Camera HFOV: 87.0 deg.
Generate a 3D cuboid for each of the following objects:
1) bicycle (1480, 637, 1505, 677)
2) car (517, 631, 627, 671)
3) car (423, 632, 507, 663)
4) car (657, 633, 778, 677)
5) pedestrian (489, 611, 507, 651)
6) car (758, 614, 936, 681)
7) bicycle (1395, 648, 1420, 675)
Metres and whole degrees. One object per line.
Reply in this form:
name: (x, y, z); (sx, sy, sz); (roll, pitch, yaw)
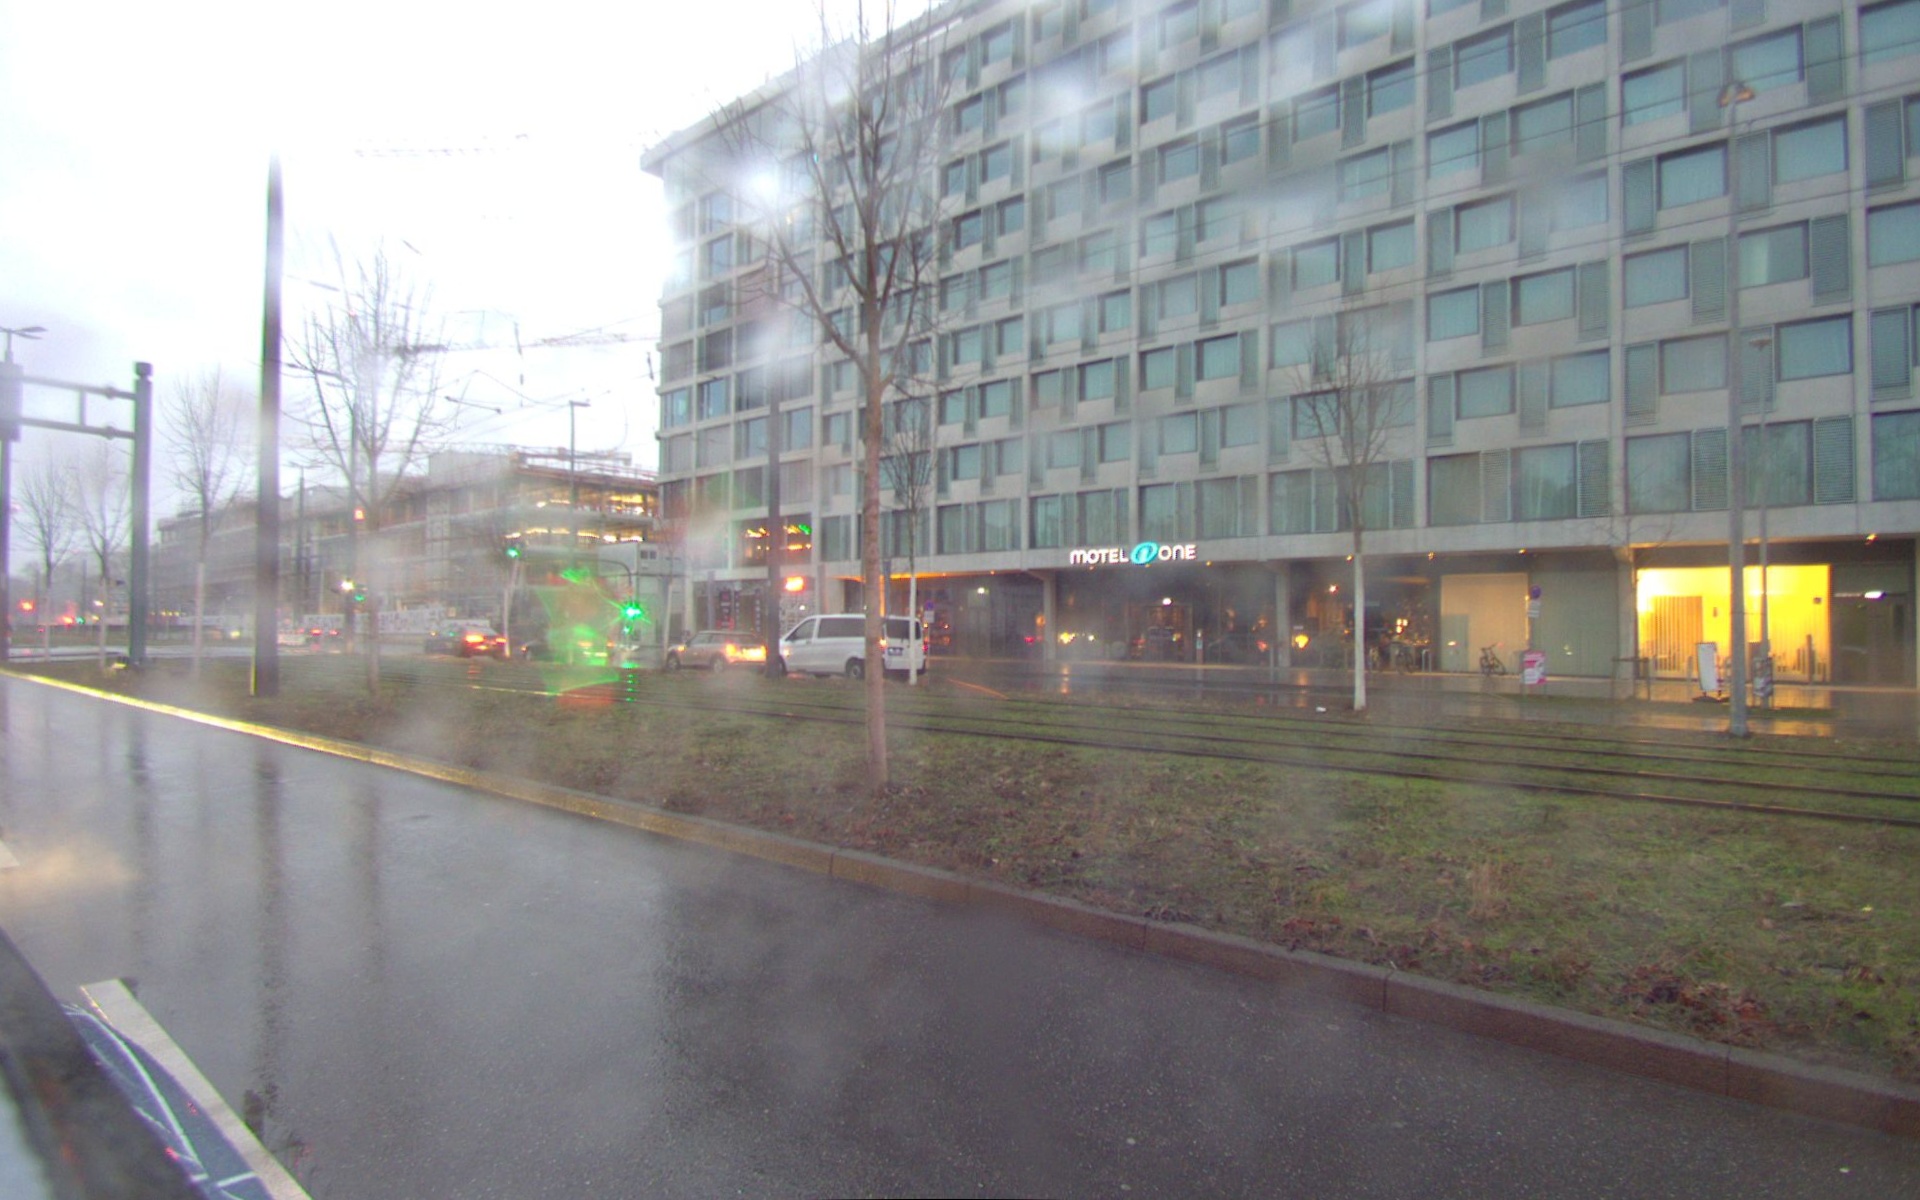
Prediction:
bicycle: (18.110, 1.927, 34.422); (0.465, 1.247, 1.520); (-1, 0, 39)
car: (-14.696, 1.897, 38.261); (4.254, 1.411, 2.084); (-1, -3, 40)
car: (-21.535, 2.018, 43.957); (3.997, 1.284, 1.793); (-1, -3, 40)
car: (-7.821, 1.721, 32.470); (3.998, 1.317, 1.793); (-1, -3, 41)
pedestrian: (-21.571, 1.433, 47.271); (0.698, 1.818, 0.772); (-1, 0, -29)
car: (-3.200, 1.280, 28.044); (5.041, 1.682, 2.060); (-1, -3, 41)
bicycle: (15.822, 2.164, 35.773); (0.465, 0.860, 1.332); (-1, 0, 39)
